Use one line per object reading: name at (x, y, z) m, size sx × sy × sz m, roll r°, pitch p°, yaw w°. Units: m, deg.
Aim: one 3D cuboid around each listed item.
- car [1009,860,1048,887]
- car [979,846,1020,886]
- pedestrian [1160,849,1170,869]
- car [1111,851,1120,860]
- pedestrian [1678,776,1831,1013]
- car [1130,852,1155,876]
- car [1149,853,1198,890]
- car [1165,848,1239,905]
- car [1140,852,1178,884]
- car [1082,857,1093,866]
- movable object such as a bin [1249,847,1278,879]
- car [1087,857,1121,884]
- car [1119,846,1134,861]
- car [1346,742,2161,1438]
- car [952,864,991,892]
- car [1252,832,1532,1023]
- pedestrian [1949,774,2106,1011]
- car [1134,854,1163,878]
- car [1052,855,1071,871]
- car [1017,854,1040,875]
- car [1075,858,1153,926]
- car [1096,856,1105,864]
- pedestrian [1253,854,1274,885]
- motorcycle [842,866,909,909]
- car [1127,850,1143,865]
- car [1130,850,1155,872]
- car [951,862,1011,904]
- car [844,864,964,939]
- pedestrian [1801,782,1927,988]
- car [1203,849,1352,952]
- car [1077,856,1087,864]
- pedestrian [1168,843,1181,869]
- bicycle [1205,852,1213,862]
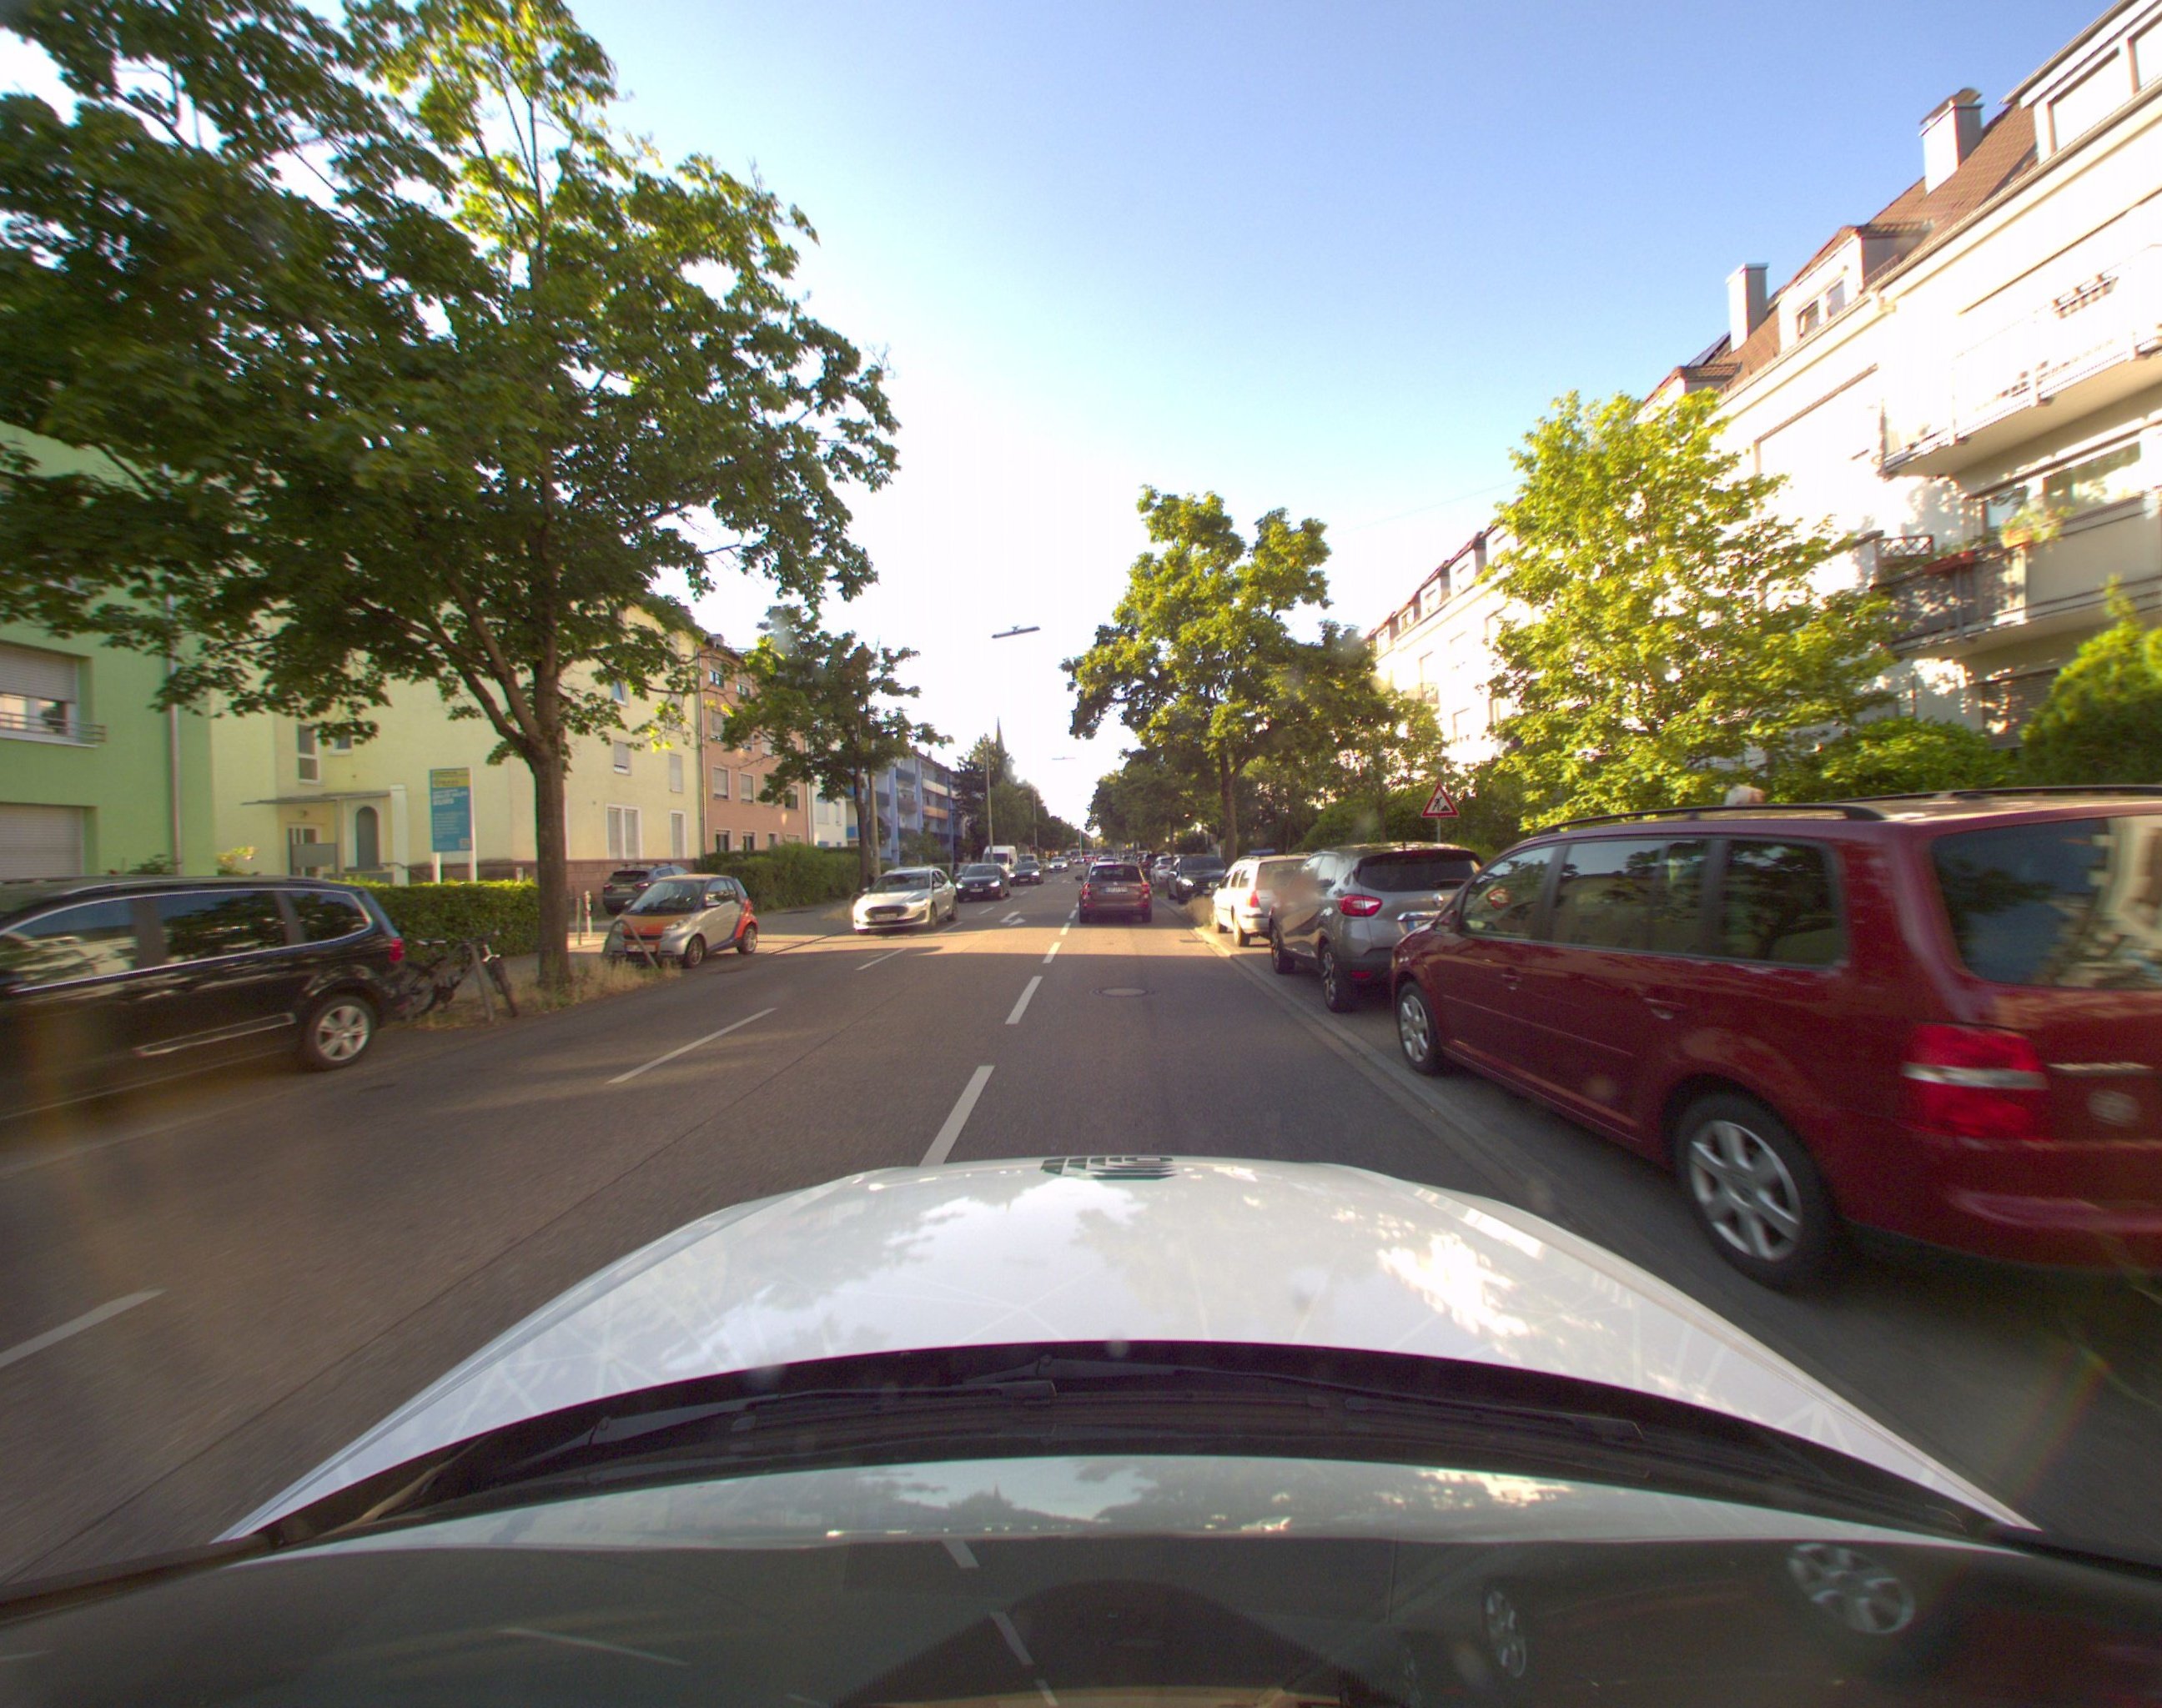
car at (-3.139, 1.142, 49.370) m, size 1.692 × 1.470 × 4.299 m, roll -4°, pitch 0°, yaw 4°
car at (-5.695, 0.776, 57.634) m, size 1.986 × 2.616 × 7.106 m, roll -1°, pitch 0°, yaw 1°
pedestrian at (7.718, 0.463, 74.899) m, size 0.746 × 1.861 × 1.068 m, roll -3°, pitch 0°, yaw 1°
car at (6.719, 0.278, 158.147) m, size 1.747 × 1.806 × 4.002 m, roll -1°, pitch 0°, yaw 2°
pedestrian at (5.636, 0.322, 6.865) m, size 0.545 × 1.849 × 0.766 m, roll -5°, pitch -1°, yaw 8°
car at (4.637, 0.732, 61.711) m, size 1.747 × 1.662 × 4.256 m, roll -3°, pitch 0°, yaw 3°
car at (4.117, 0.740, 36.944) m, size 1.712 × 1.494 × 4.394 m, roll -3°, pitch 0°, yaw 0°
car at (3.856, 0.677, 26.706) m, size 1.867 × 1.581 × 4.824 m, roll -4°, pitch 0°, yaw 3°
car at (4.238, 0.755, 44.606) m, size 1.712 × 1.601 × 4.097 m, roll -3°, pitch 0°, yaw 1°
car at (1.072, 1.169, 134.295) m, size 1.776 × 1.480 × 3.968 m, roll -1°, pitch 0°, yaw -2°
movable object such as a bin at (9.040, 0.427, 40.337) m, size 1.259 × 1.492 × 1.143 m, roll -5°, pitch -1°, yaw 11°
car at (1.344, 0.991, 48.286) m, size 1.885 × 1.506 × 3.790 m, roll 1°, pitch -1°, yaw 1°
car at (6.130, -0.047, 110.257) m, size 1.908 × 1.860 × 5.637 m, roll -2°, pitch 0°, yaw 3°
car at (3.068, 0.549, 4.285) m, size 1.717 × 1.655 × 4.595 m, roll -2°, pitch 0°, yaw -1°
car at (-6.190, 1.307, 46.330) m, size 1.606 × 1.473 × 3.813 m, roll 0°, pitch 0°, yaw 1°
car at (3.126, 0.643, 9.096) m, size 1.630 × 1.568 × 4.001 m, roll -4°, pitch 0°, yaw 2°
pedestrian at (7.136, 0.279, 6.163) m, size 0.509 × 1.697 × 0.526 m, roll -2°, pitch 0°, yaw -3°
car at (4.521, 0.790, 54.773) m, size 1.607 × 1.466 × 3.960 m, roll -4°, pitch 0°, yaw 1°
car at (-2.034, 0.874, 84.036) m, size 1.874 × 1.543 × 4.264 m, roll -3°, pitch 0°, yaw -2°
car at (-5.168, 1.010, 80.787) m, size 1.862 × 2.031 × 5.301 m, roll -2°, pitch 0°, yaw 1°
car at (0.861, 0.880, 20.361) m, size 1.747 × 1.492 × 4.003 m, roll -1°, pitch 0°, yaw 3°
car at (4.407, 1.404, 185.930) m, size 1.641 × 1.599 × 3.645 m, roll -2°, pitch 0°, yaw -4°
pedestrian at (7.476, 0.628, 33.455) m, size 0.670 × 1.235 × 0.791 m, roll -2°, pitch -1°, yaw 2°
motorcycle at (-6.920, 1.102, 27.436) m, size 2.034 × 1.389 × 0.981 m, roll 0°, pitch -2°, yaw -31°
car at (6.157, 0.378, 93.788) m, size 1.747 × 1.686 × 4.256 m, roll -1°, pitch 0°, yaw 3°
car at (5.318, 0.589, 70.889) m, size 1.795 × 1.808 × 4.422 m, roll -1°, pitch 0°, yaw -1°
car at (-3.929, 1.107, 32.546) m, size 1.694 × 1.403 × 4.028 m, roll -4°, pitch 0°, yaw 1°
car at (-4.275, 1.080, 20.420) m, size 1.826 × 1.470 × 4.452 m, roll -5°, pitch 0°, yaw 1°
pedestrian at (6.732, 0.256, 7.020) m, size 0.509 × 1.697 × 0.526 m, roll -2°, pitch 0°, yaw -3°
car at (3.356, 0.722, 14.724) m, size 1.631 × 1.490 × 4.416 m, roll -4°, pitch 0°, yaw 1°
car at (0.132, 1.235, 159.737) m, size 1.774 × 1.494 × 3.973 m, roll -3°, pitch 0°, yaw 2°
pedestrian at (6.231, 0.112, 54.247) m, size 0.784 × 1.700 × 0.809 m, roll -2°, pitch -1°, yaw 6°
bicycle at (12.163, 0.311, 77.238) m, size 0.473 × 0.944 × 1.680 m, roll -3°, pitch 0°, yaw 1°
